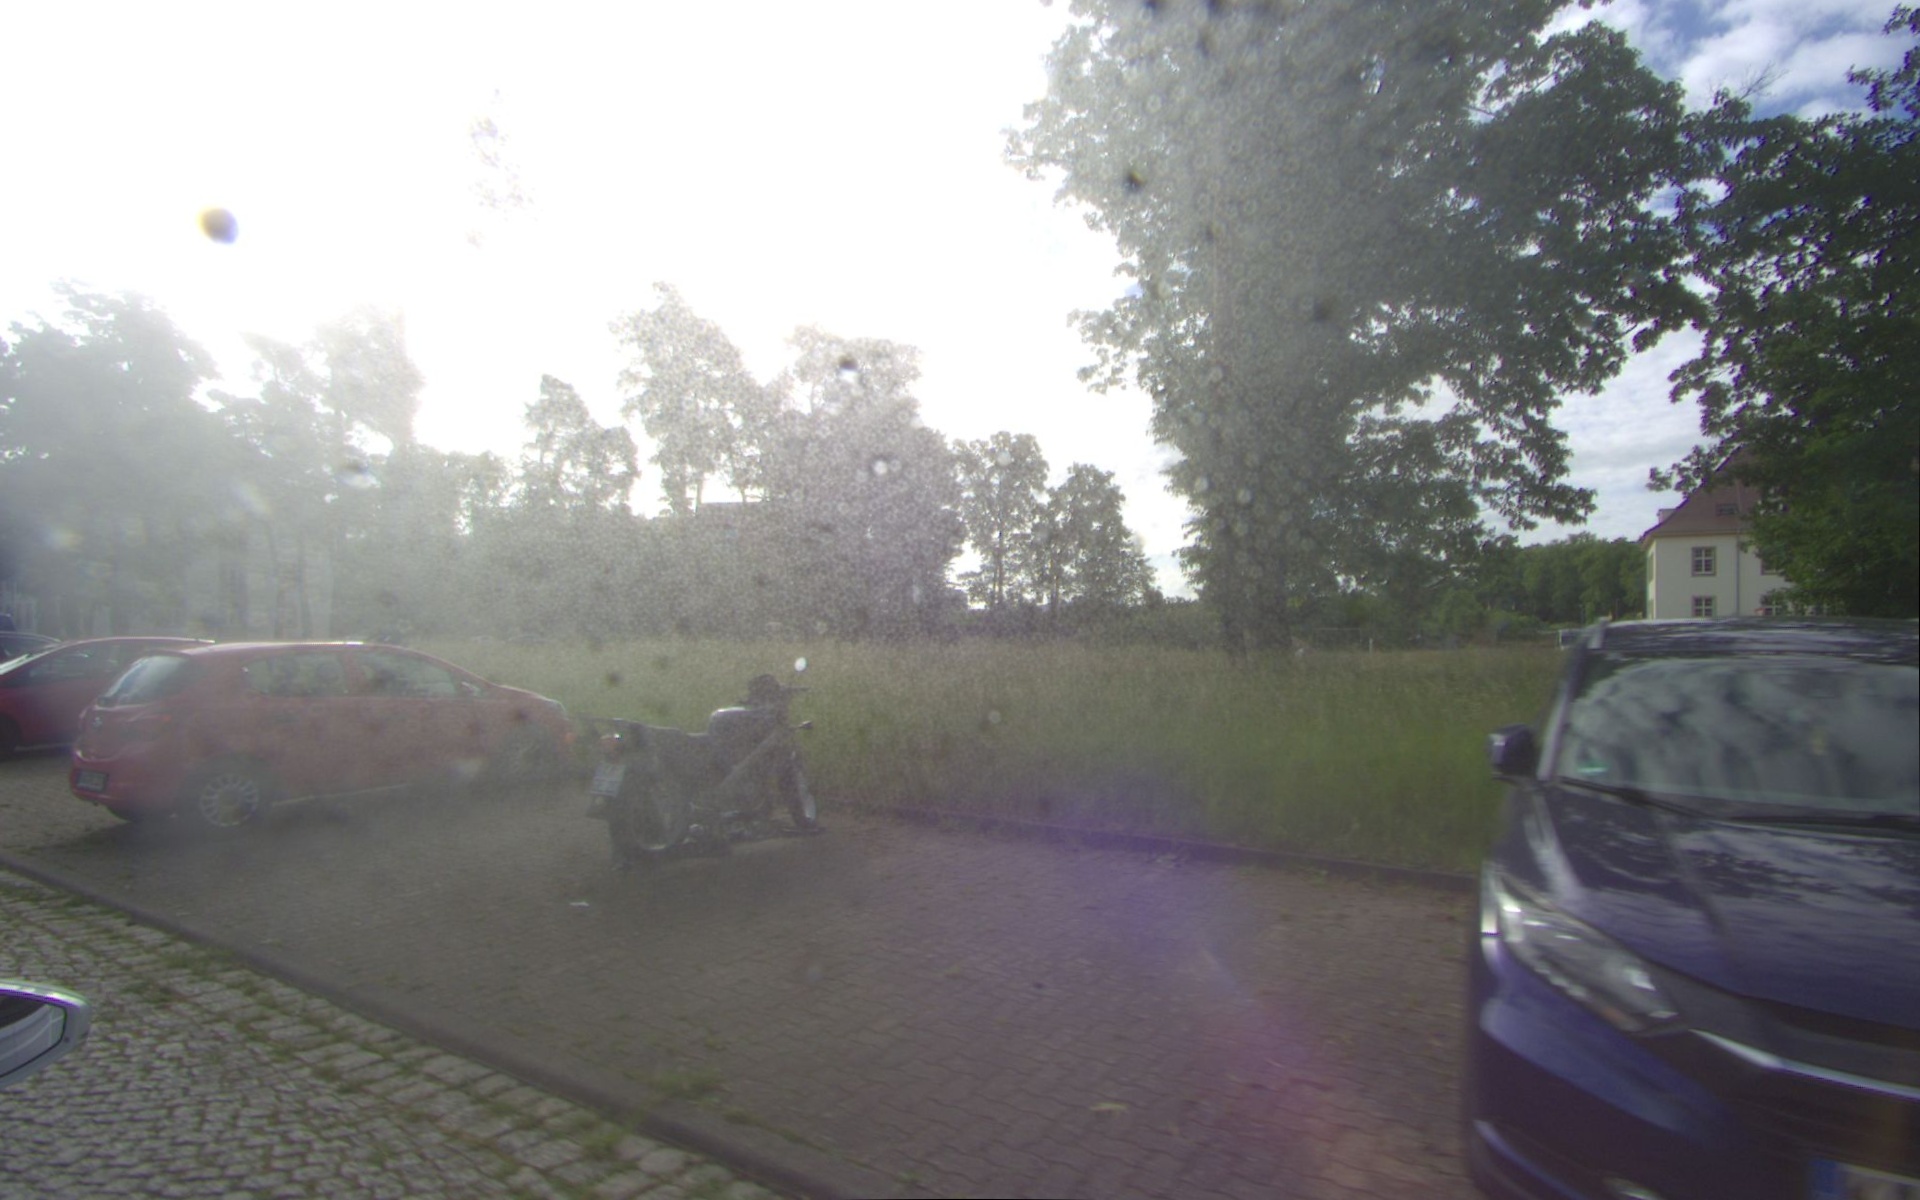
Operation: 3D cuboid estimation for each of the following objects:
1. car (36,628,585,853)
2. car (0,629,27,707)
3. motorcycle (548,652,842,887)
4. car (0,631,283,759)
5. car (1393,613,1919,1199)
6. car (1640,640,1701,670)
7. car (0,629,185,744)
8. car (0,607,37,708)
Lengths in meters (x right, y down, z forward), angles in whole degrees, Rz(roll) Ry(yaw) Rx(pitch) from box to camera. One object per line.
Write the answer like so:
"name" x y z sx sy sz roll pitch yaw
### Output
"car" -5.550 1.033 9.056 1.713 1.525 3.833 0 -1 32
"car" -19.415 1.279 17.886 1.630 1.442 3.717 0 -1 30
"motorcycle" -1.700 1.032 6.907 0.596 1.291 2.263 0 -1 28
"car" -11.685 1.192 13.424 1.713 1.538 3.980 0 -2 33
"car" 2.842 0.845 3.413 1.868 1.594 4.254 0 -1 33
"car" 50.345 3.883 71.072 2.447 2.038 5.821 -1 -3 25
"car" -14.001 1.226 14.581 1.736 1.600 3.945 0 -2 31
"car" -21.328 1.129 19.391 1.712 2.066 4.776 0 -2 31
